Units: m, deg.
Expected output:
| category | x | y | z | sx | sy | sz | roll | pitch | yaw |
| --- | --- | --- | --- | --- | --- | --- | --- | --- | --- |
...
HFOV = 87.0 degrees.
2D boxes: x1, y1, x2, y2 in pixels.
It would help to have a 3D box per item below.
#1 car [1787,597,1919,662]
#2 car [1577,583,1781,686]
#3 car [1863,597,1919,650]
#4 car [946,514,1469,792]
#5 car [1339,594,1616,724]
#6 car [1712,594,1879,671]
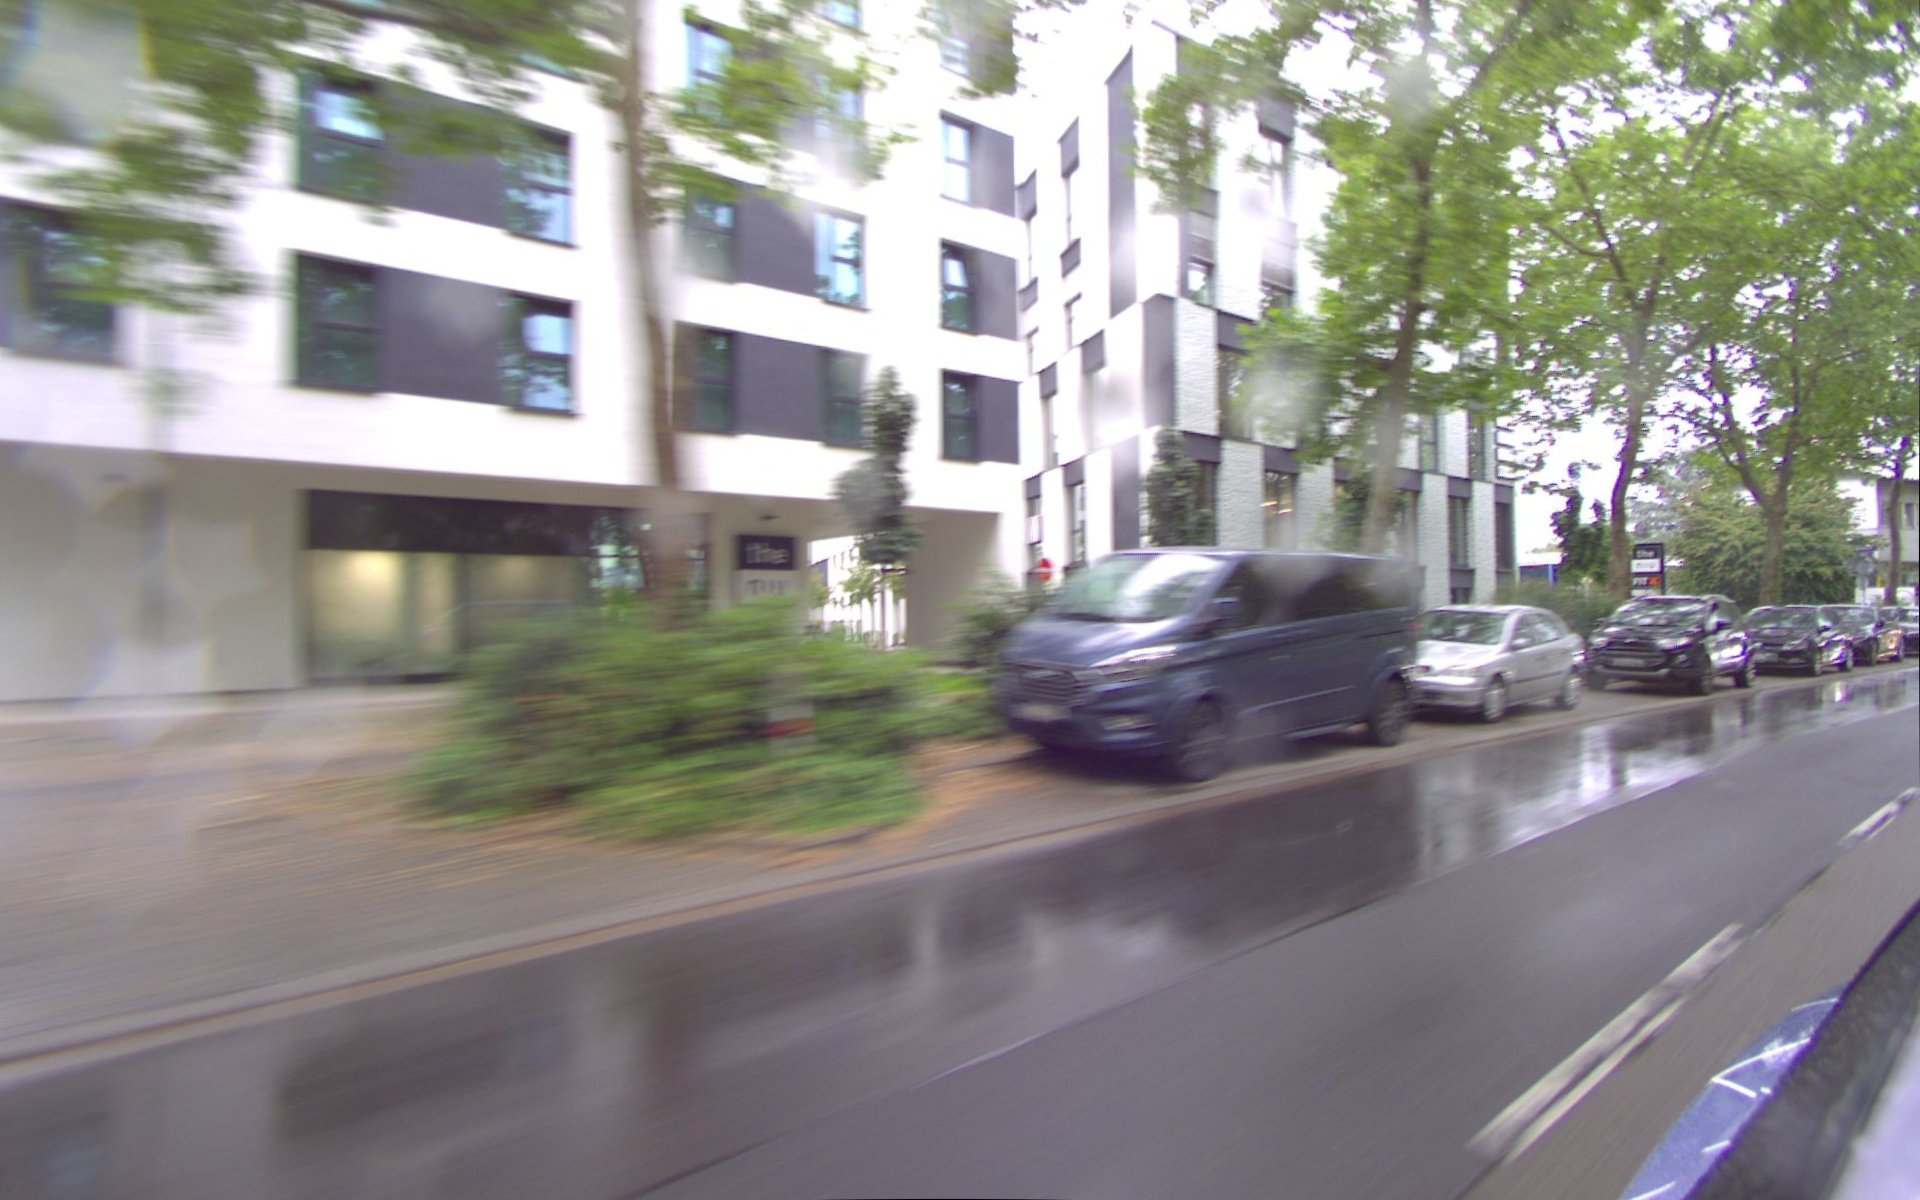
| category | x | y | z | sx | sy | sz | roll | pitch | yaw |
| --- | --- | --- | --- | --- | --- | --- | --- | --- | --- |
| car | 22.774 | 0.687 | 25.559 | 5.009 | 1.446 | 1.748 | -1 | -1 | -37 |
| car | 12.594 | 0.516 | 17.642 | 4.292 | 1.586 | 1.747 | -1 | -1 | -38 |
| car | 28.260 | 0.633 | 29.408 | 4.772 | 1.446 | 1.750 | -1 | -1 | -32 |
| car | 2.663 | 0.376 | 10.015 | 5.427 | 2.054 | 2.126 | -1 | -1 | -38 |
| car | 7.135 | 0.685 | 13.782 | 4.228 | 1.488 | 1.747 | -1 | -1 | -38 |
| car | 17.998 | 0.643 | 21.762 | 4.005 | 1.495 | 1.749 | -1 | -1 | -35 |
